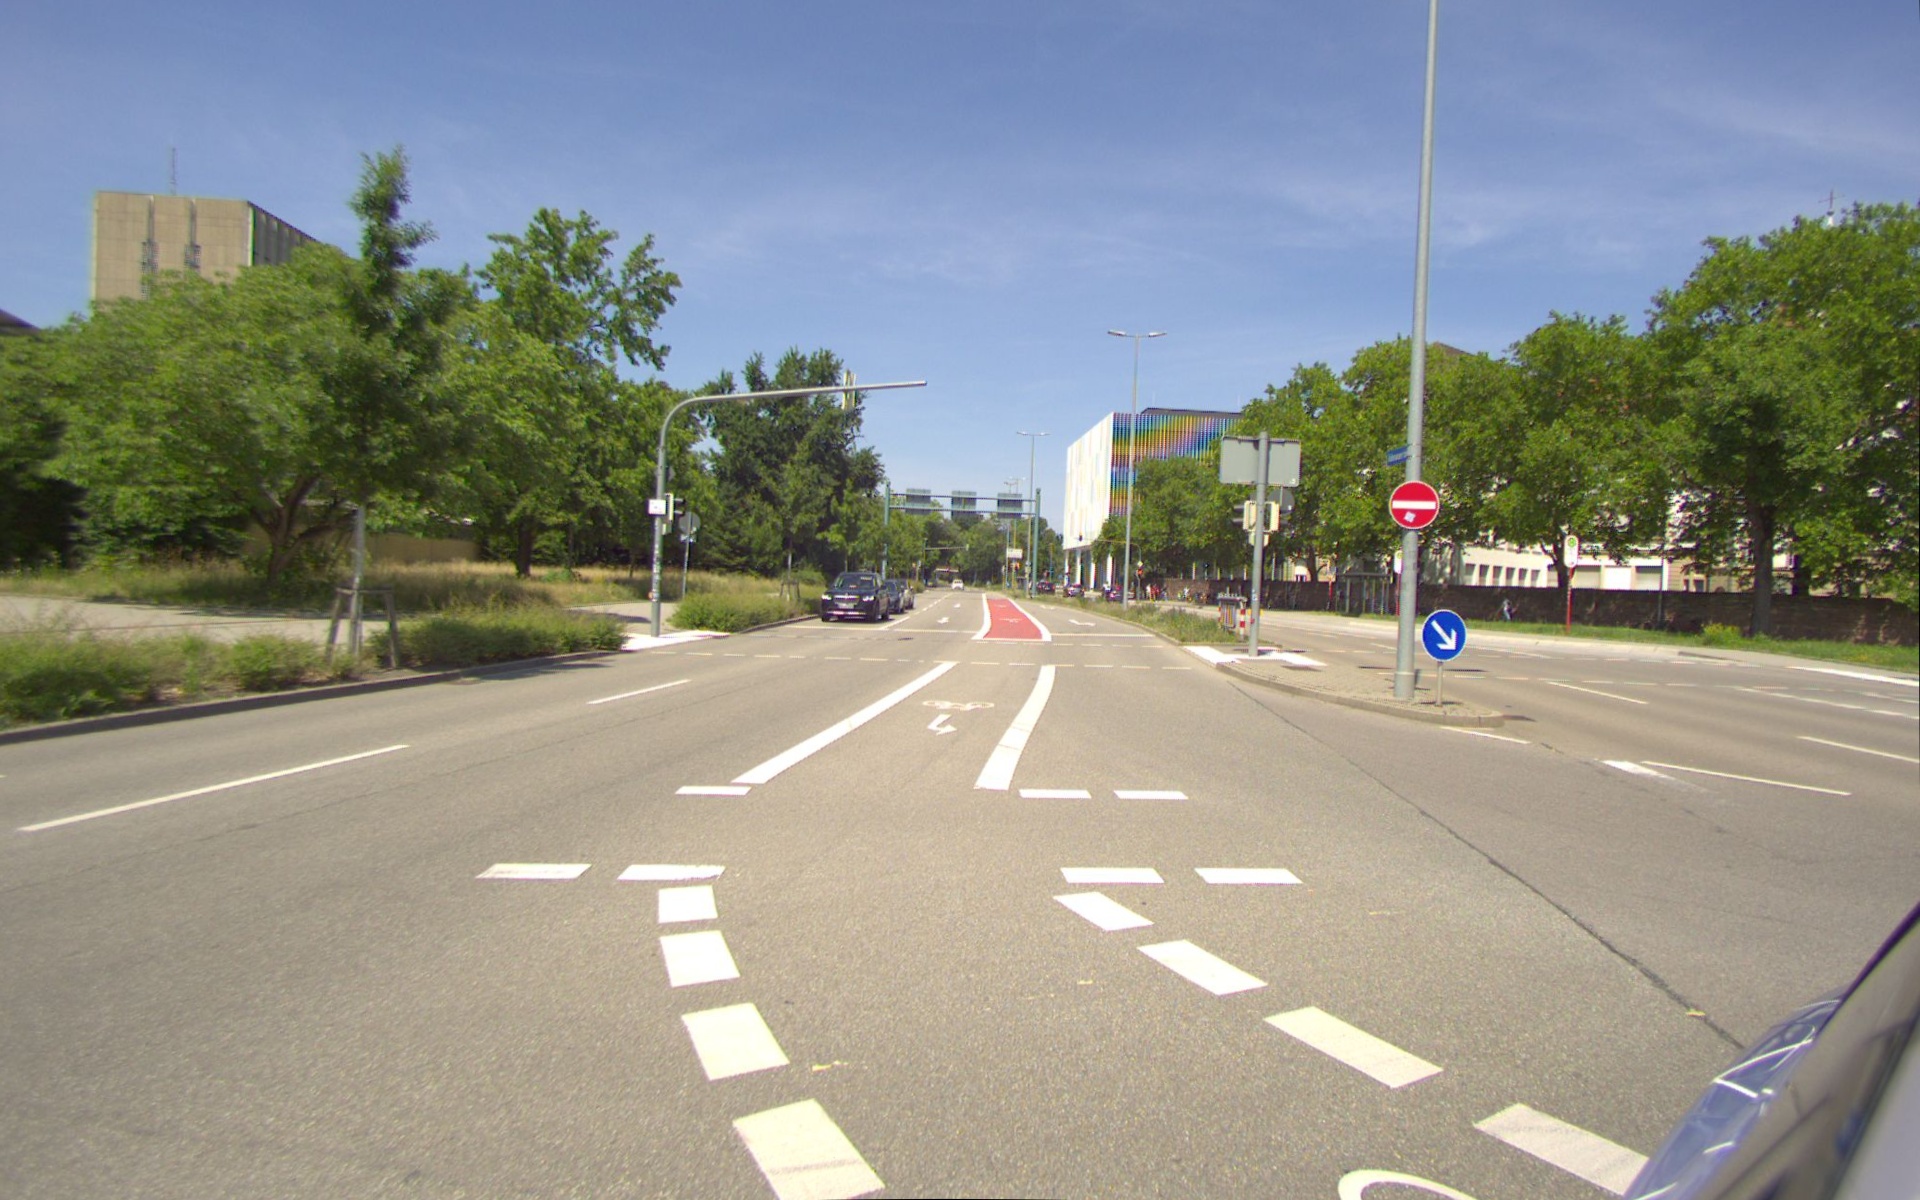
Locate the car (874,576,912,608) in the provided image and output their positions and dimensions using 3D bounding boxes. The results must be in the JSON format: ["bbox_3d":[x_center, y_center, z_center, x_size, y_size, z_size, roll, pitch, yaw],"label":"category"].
[{"bbox_3d":[-3.265,-0.375,50.030,1.725,1.457,4.001,2,-1,-3],"label":"car"}]

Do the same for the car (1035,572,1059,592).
[{"bbox_3d":[8.331,-1.720,96.904,1.744,1.690,4.001,2,-1,-3],"label":"car"}]

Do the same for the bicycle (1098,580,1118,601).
[{"bbox_3d":[9.182,-0.568,62.887,0.510,1.253,2.195,2,-1,-10],"label":"bicycle"}]

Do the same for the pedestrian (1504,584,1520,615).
[{"bbox_3d":[31.536,-0.029,57.821,0.577,1.743,0.527,3,-1,-26],"label":"pedestrian"}]

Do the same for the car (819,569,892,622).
[{"bbox_3d":[-3.466,-0.201,34.346,1.678,1.606,4.552,2,2,4],"label":"car"}]

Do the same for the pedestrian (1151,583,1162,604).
[{"bbox_3d":[18.948,-0.625,97.724,0.774,2.039,0.964,2,-1,-1],"label":"pedestrian"}]

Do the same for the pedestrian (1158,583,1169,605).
[{"bbox_3d":[19.664,-0.596,97.702,0.774,2.039,0.840,2,-1,-1],"label":"pedestrian"}]

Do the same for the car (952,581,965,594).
[{"bbox_3d":[-0.230,-1.744,144.872,1.703,1.708,3.915,2,-1,-1],"label":"car"}]

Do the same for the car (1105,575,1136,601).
[{"bbox_3d":[13.966,-1.026,88.263,1.962,2.039,4.214,2,-1,-1],"label":"car"}]

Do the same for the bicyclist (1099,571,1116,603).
[{"bbox_3d":[9.171,-0.803,62.971,0.694,1.911,1.140,2,-1,-10],"label":"bicyclist"}]

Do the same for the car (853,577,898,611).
[{"bbox_3d":[-3.563,-0.226,43.236,1.725,1.327,4.001,2,-1,-3],"label":"car"}]

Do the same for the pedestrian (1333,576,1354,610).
[{"bbox_3d":[26.776,-0.512,70.722,0.831,2.320,1.077,3,-1,-17],"label":"pedestrian"}]

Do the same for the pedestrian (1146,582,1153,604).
[{"bbox_3d":[18.195,-0.662,97.203,0.539,2.039,0.536,2,-1,0],"label":"pedestrian"}]

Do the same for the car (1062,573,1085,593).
[{"bbox_3d":[10.837,-1.591,96.534,1.748,1.705,3.998,2,-1,1],"label":"car"}]

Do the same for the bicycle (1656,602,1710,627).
[{"bbox_3d":[35.700,0.708,50.013,0.448,1.197,2.172,3,-1,-29],"label":"bicycle"}]
